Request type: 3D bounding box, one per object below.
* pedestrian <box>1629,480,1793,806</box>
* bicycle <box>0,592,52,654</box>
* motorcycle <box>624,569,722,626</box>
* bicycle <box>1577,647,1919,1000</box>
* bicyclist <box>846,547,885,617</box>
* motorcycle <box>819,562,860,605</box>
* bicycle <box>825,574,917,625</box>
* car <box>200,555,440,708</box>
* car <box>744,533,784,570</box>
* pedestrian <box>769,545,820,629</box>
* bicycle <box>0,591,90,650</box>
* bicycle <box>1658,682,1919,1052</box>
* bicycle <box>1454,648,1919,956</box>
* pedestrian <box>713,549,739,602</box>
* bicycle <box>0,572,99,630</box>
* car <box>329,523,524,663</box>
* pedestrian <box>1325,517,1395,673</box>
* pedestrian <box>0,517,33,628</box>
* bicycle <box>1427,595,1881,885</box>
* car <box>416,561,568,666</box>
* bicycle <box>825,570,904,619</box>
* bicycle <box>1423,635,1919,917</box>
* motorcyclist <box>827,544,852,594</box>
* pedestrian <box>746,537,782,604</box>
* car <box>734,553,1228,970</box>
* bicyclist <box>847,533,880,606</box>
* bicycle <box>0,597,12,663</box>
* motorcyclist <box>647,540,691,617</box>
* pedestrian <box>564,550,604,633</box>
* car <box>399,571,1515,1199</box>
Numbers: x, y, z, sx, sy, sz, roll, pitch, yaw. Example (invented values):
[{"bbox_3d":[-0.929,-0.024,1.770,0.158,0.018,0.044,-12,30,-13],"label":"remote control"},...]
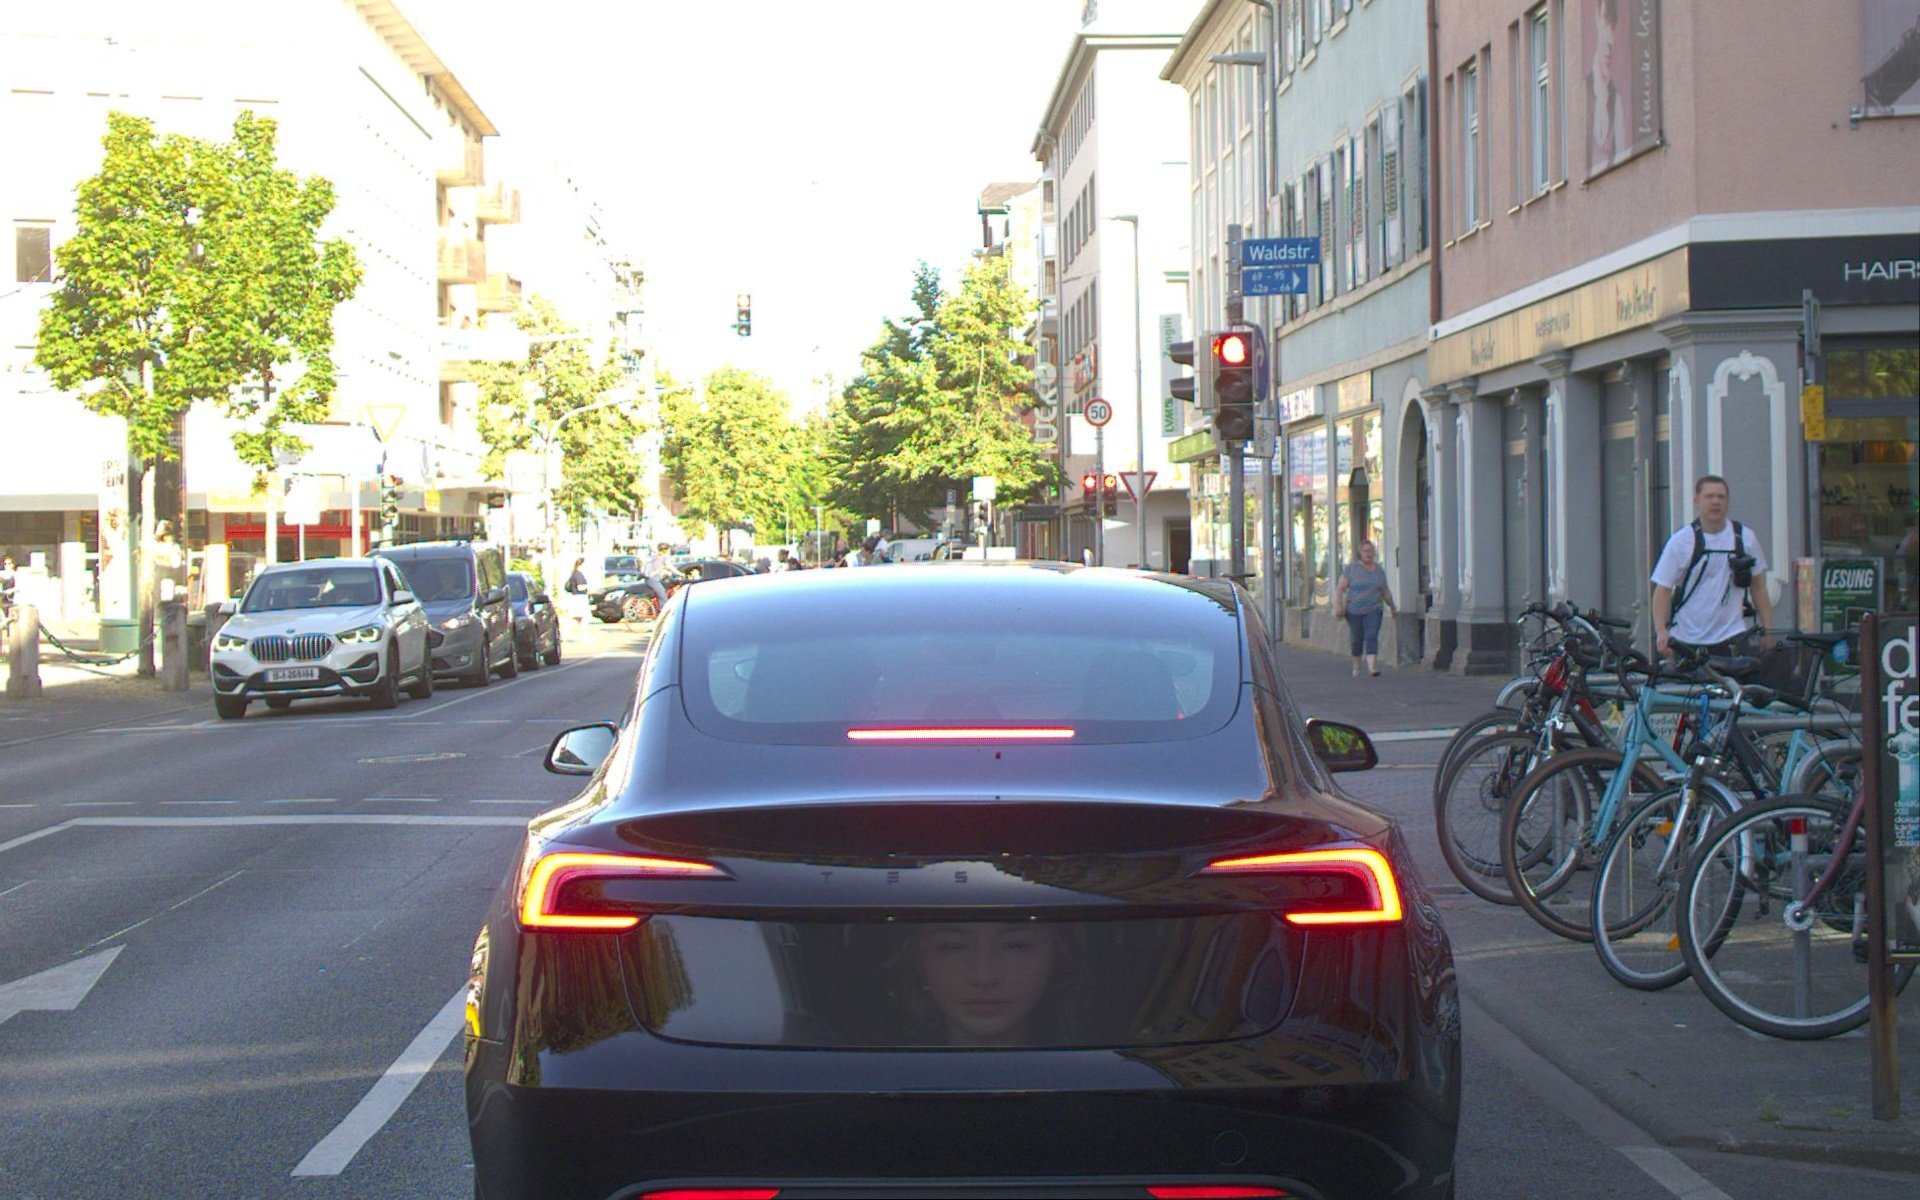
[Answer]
[{"bbox_3d":[4.163,0.228,19.102,0.750,1.759,0.836,1,0,4],"label":"pedestrian"},{"bbox_3d":[-14.810,0.351,52.224,1.864,0.931,0.606,0,1,-1],"label":"bicycle"},{"bbox_3d":[-5.739,-0.059,68.866,1.927,1.107,0.519,-1,1,-32],"label":"motorcycle"},{"bbox_3d":[2.989,0.705,11.149,1.873,1.084,0.414,-2,0,4],"label":"bicycle"},{"bbox_3d":[-1.904,-0.354,69.045,0.669,1.390,0.462,1,0,-16],"label":"bicyclist"},{"bbox_3d":[-3.030,-0.417,86.336,0.977,1.082,0.356,0,1,-37],"label":"motorcycle"},{"bbox_3d":[-1.783,-0.003,69.089,1.784,1.003,0.472,1,0,-16],"label":"bicycle"},{"bbox_3d":[-6.671,0.293,36.174,1.789,1.455,3.757,-2,1,0],"label":"car"},{"bbox_3d":[-10.643,-2.665,187.187,1.993,2.007,4.000,0,1,-1],"label":"car"},{"bbox_3d":[-3.231,-0.259,66.959,0.754,1.626,0.956,1,0,-18],"label":"pedestrian"},{"bbox_3d":[-14.838,0.326,54.673,1.864,0.931,0.606,0,1,-1],"label":"bicycle"},{"bbox_3d":[3.020,0.757,10.016,1.873,1.034,0.353,-2,0,6],"label":"bicycle"},{"bbox_3d":[2.774,0.722,12.482,1.873,1.034,0.533,-2,0,4],"label":"bicycle"},{"bbox_3d":[-6.282,-0.647,92.325,0.521,1.417,0.479,1,0,-30],"label":"pedestrian"},{"bbox_3d":[-20.793,0.017,78.060,2.361,1.291,0.513,1,0,-26],"label":"bicycle"},{"bbox_3d":[-6.546,-0.123,42.591,1.787,1.640,4.403,0,1,-1],"label":"car"},{"bbox_3d":[4.496,-0.058,38.650,0.706,1.736,0.540,0,1,-1],"label":"pedestrian"},{"bbox_3d":[-17.623,-0.507,63.148,1.057,2.007,1.055,1,0,-20],"label":"pedestrian"},{"bbox_3d":[2.960,0.594,14.762,1.828,1.165,0.505,-2,0,5],"label":"bicycle"},{"bbox_3d":[-6.746,0.170,49.885,1.715,1.441,3.845,1,1,-1],"label":"car"},{"bbox_3d":[-1.995,-0.109,71.686,1.556,1.009,0.484,1,0,-24],"label":"bicycle"},{"bbox_3d":[2.810,0.691,13.644,1.873,1.034,0.547,-2,0,5],"label":"bicycle"},{"bbox_3d":[-3.027,-0.786,86.334,0.489,1.249,0.355,0,0,-38],"label":"motorcyclist"},{"bbox_3d":[-5.256,-0.803,92.063,0.671,1.782,0.712,0,0,-36],"label":"pedestrian"},{"bbox_3d":[0.007,0.536,13.836,1.718,1.420,3.758,0,1,-2],"label":"car"},{"bbox_3d":[-2.011,-0.639,71.677,0.522,1.498,0.476,1,0,-24],"label":"bicyclist"},{"bbox_3d":[-14.743,0.422,49.786,1.864,0.931,0.606,1,0,-1],"label":"bicycle"},{"bbox_3d":[-5.819,-0.428,68.812,0.719,1.523,0.516,-1,1,-32],"label":"motorcyclist"},{"bbox_3d":[-6.987,-0.154,63.858,0.622,1.532,0.514,1,0,-18],"label":"pedestrian"},{"bbox_3d":[-0.027,0.659,7.614,1.822,1.437,4.000,0,1,-1],"label":"car"}]
